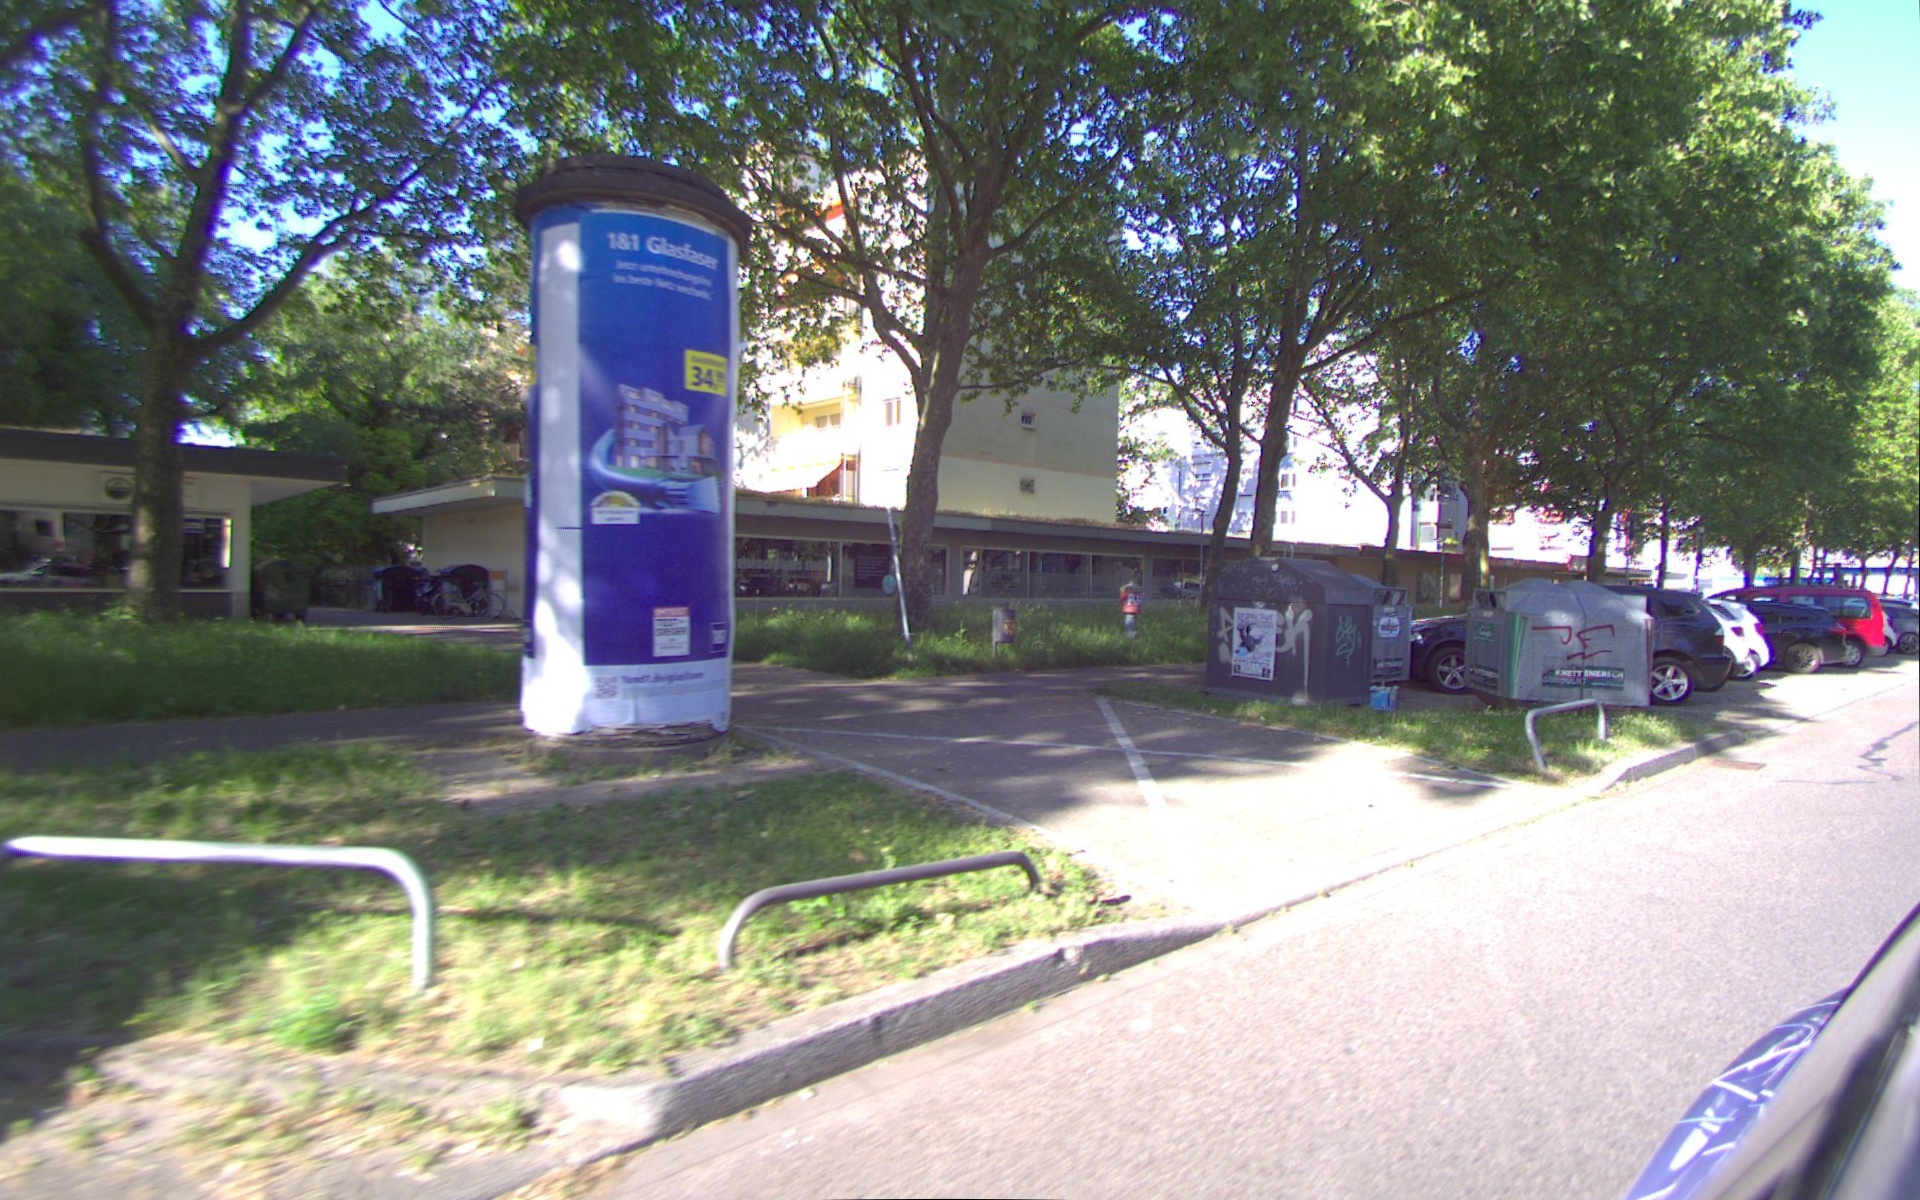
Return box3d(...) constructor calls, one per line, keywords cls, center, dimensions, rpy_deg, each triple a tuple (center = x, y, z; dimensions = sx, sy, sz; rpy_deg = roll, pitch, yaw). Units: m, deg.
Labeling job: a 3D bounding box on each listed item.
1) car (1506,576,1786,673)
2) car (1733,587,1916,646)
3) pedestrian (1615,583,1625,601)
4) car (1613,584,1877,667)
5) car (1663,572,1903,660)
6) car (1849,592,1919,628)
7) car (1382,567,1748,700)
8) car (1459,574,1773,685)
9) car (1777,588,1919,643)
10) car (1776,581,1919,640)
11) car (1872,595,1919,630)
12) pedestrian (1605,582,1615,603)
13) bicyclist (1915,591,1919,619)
box3d(cls="car", center=(13.032, 0.415, 19.469), dimensions=(4.016, 1.601, 1.778), rpy_deg=(2, 2, 8))
box3d(cls="car", center=(24.307, 0.445, 28.560), dimensions=(3.562, 1.466, 1.650), rpy_deg=(2, 2, 4))
box3d(cls="pedestrian", center=(54.679, -0.643, 83.851), dimensions=(0.531, 1.448, 0.704), rpy_deg=(2, 0, 44))
box3d(cls="car", center=(16.502, 0.499, 21.505), dimensions=(4.025, 1.499, 1.644), rpy_deg=(2, 2, 14))
box3d(cls="car", center=(19.322, 0.330, 23.940), dimensions=(4.020, 1.833, 1.647), rpy_deg=(2, 2, 10))
box3d(cls="car", center=(39.958, 0.428, 42.333), dimensions=(3.871, 1.390, 1.585), rpy_deg=(2, 2, 7))
box3d(cls="car", center=(8.642, 0.421, 14.829), dimensions=(4.253, 1.738, 1.631), rpy_deg=(1, 1, 11))
box3d(cls="car", center=(10.879, 0.419, 17.120), dimensions=(4.027, 1.601, 1.773), rpy_deg=(2, 2, 16))
box3d(cls="car", center=(27.363, 0.449, 30.607), dimensions=(3.722, 1.488, 1.649), rpy_deg=(2, 2, 7))
box3d(cls="car", center=(29.569, 0.330, 33.178), dimensions=(3.962, 1.726, 1.757), rpy_deg=(2, 2, 9))
box3d(cls="car", center=(43.264, 0.606, 44.708), dimensions=(4.113, 1.429, 1.718), rpy_deg=(2, 2, 7))
box3d(cls="pedestrian", center=(53.816, -0.637, 83.810), dimensions=(0.495, 1.721, 0.704), rpy_deg=(2, 0, 44))
box3d(cls="bicyclist", center=(60.682, 0.299, 63.766), dimensions=(1.005, 1.762, 0.624), rpy_deg=(0, 1, -40))
